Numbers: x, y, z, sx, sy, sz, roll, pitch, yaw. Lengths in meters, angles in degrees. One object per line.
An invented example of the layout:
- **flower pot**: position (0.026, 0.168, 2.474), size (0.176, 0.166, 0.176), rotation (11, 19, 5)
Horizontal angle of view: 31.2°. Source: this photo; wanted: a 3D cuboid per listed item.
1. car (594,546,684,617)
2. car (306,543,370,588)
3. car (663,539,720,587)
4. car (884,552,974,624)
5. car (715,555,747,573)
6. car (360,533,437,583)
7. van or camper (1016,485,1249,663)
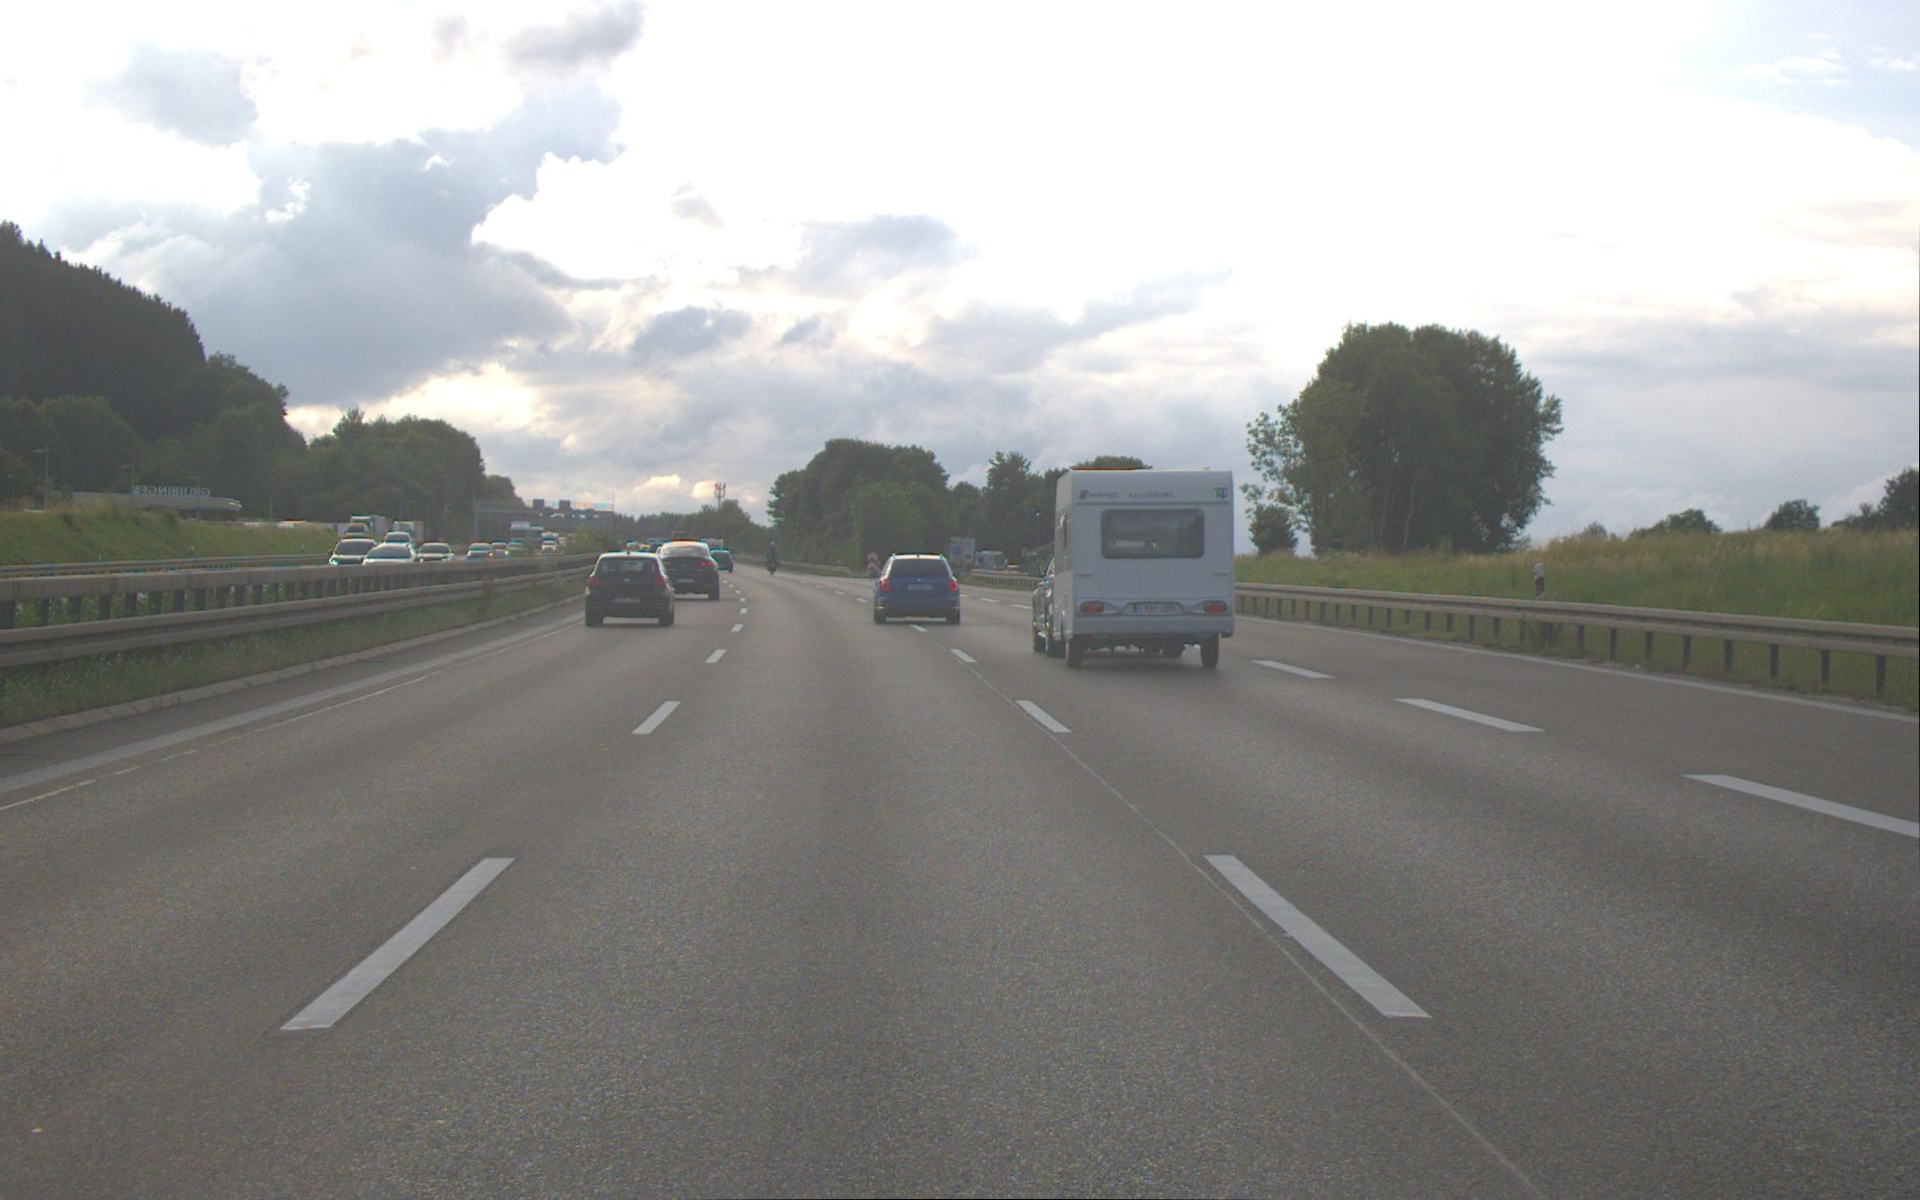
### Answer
- **car**: position (-6.368, -0.390, 68.460), size (1.538, 1.343, 3.677), rotation (-1, 1, -2)
- **car**: position (-23.502, -1.302, 130.066), size (1.807, 1.608, 4.341), rotation (1, 0, -3)
- **car**: position (-7.929, -1.108, 101.648), size (1.565, 1.375, 4.001), rotation (0, 1, -3)
- **car**: position (-0.668, -0.258, 71.571), size (1.767, 1.428, 4.000), rotation (-1, 0, -1)
- **car**: position (-15.305, -2.407, 229.817), size (1.750, 1.218, 4.001), rotation (0, 1, -10)
- **car**: position (-18.216, -1.379, 111.691), size (1.841, 1.525, 4.215), rotation (-1, 1, -1)
- **van or camper**: position (2.214, -0.370, 45.922), size (2.547, 2.231, 5.330), rotation (0, 1, -3)
